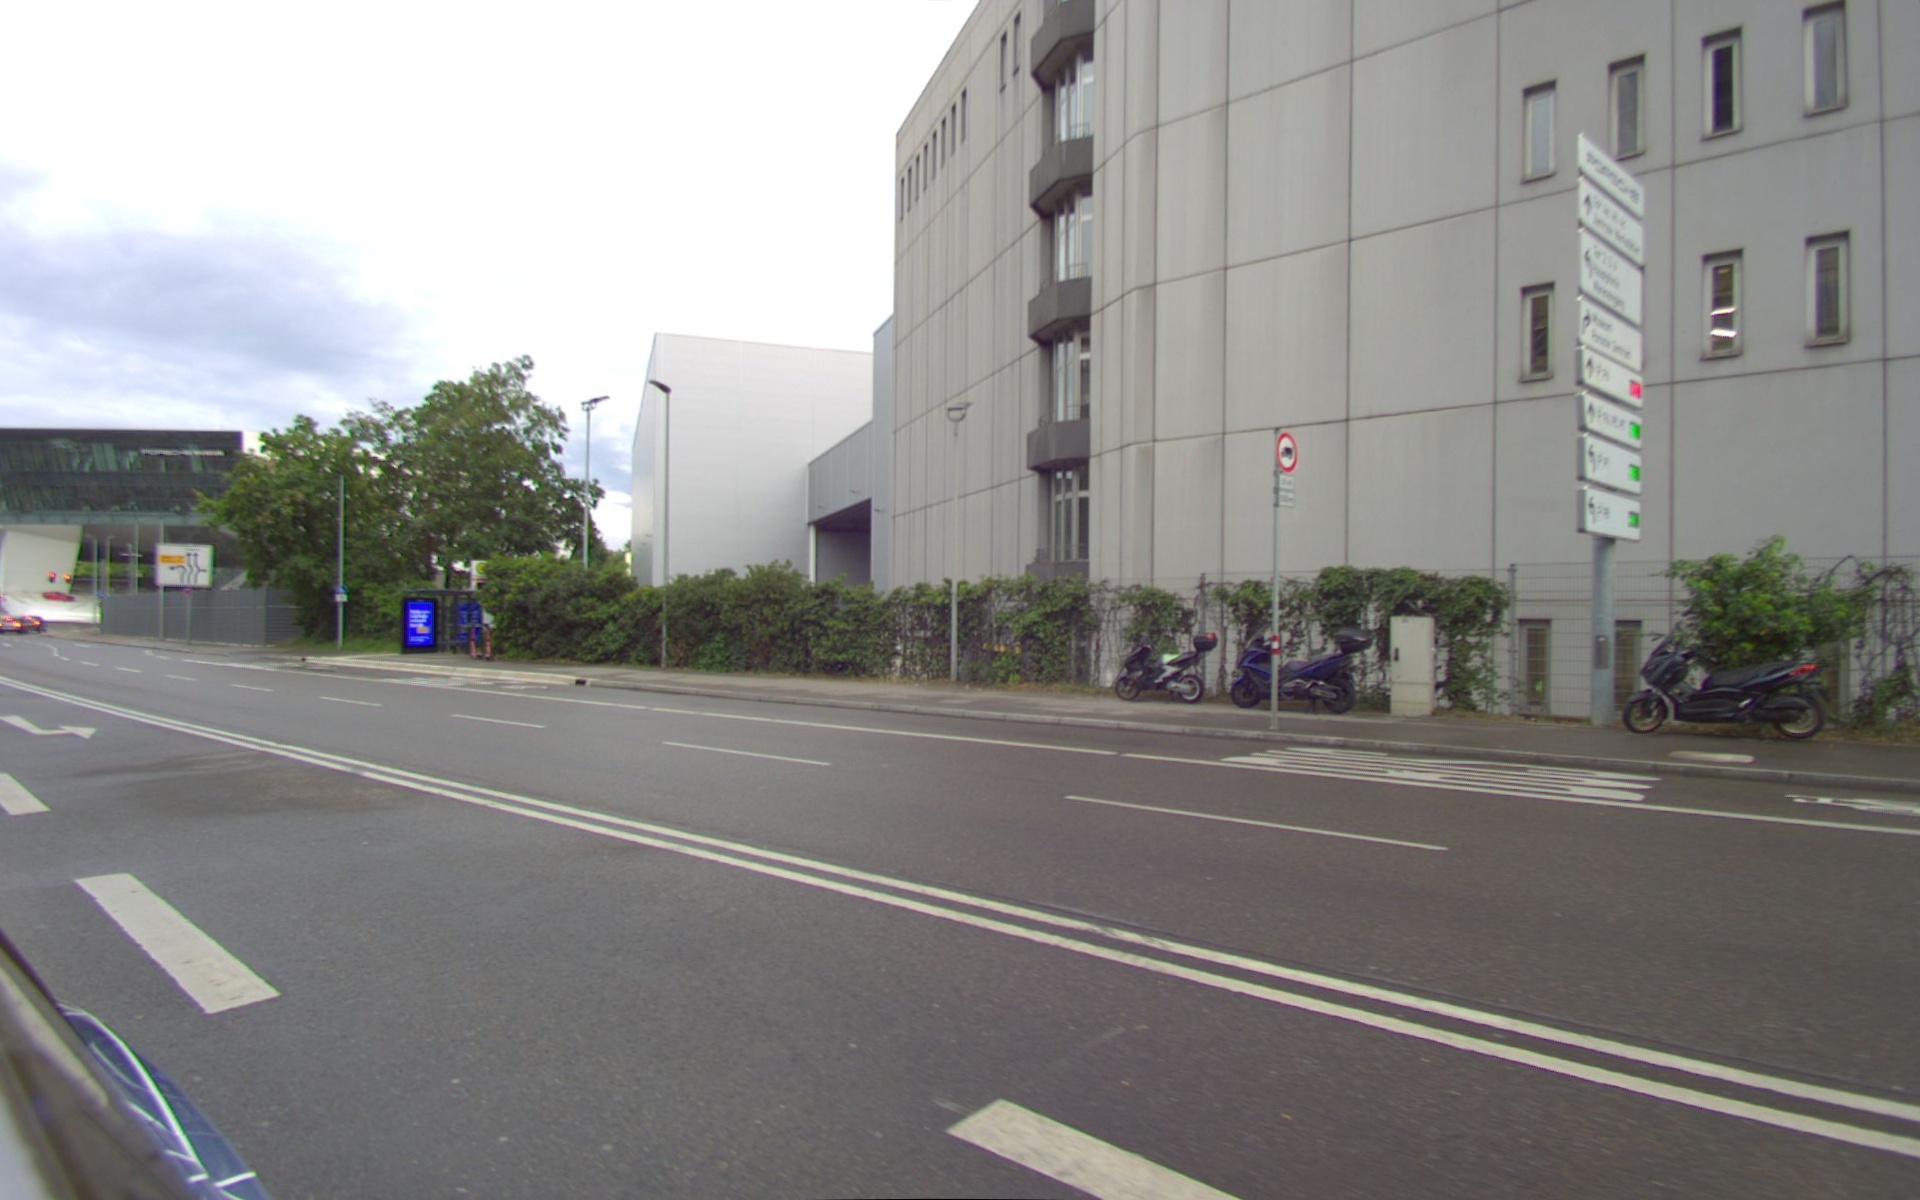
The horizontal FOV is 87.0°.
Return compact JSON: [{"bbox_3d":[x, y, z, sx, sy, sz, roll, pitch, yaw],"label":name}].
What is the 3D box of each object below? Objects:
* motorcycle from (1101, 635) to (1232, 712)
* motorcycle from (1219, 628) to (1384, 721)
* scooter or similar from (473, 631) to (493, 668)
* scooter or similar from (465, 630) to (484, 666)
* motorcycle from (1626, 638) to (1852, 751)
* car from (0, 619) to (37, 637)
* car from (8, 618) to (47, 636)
[{"bbox_3d":[3.599,1.251,17.797,2.156,1.260,0.776,-1,-2,40],"label":"motorcycle"},{"bbox_3d":[5.376,1.130,16.067,2.368,1.358,0.776,-1,-2,40],"label":"motorcycle"},{"bbox_3d":[-16.104,1.650,34.157,0.373,1.190,1.381,1,-1,-36],"label":"scooter or similar"},{"bbox_3d":[-16.951,1.662,35.307,0.383,1.189,1.253,1,-1,-36],"label":"scooter or similar"},{"bbox_3d":[9.616,1.115,12.569,2.156,1.257,0.776,-1,-2,40],"label":"motorcycle"},{"bbox_3d":[-81.012,2.399,86.623,2.233,1.488,4.059,1,-1,-32],"label":"car"},{"bbox_3d":[-85.260,2.457,92.543,1.834,1.663,3.799,1,-2,-30],"label":"car"}]
